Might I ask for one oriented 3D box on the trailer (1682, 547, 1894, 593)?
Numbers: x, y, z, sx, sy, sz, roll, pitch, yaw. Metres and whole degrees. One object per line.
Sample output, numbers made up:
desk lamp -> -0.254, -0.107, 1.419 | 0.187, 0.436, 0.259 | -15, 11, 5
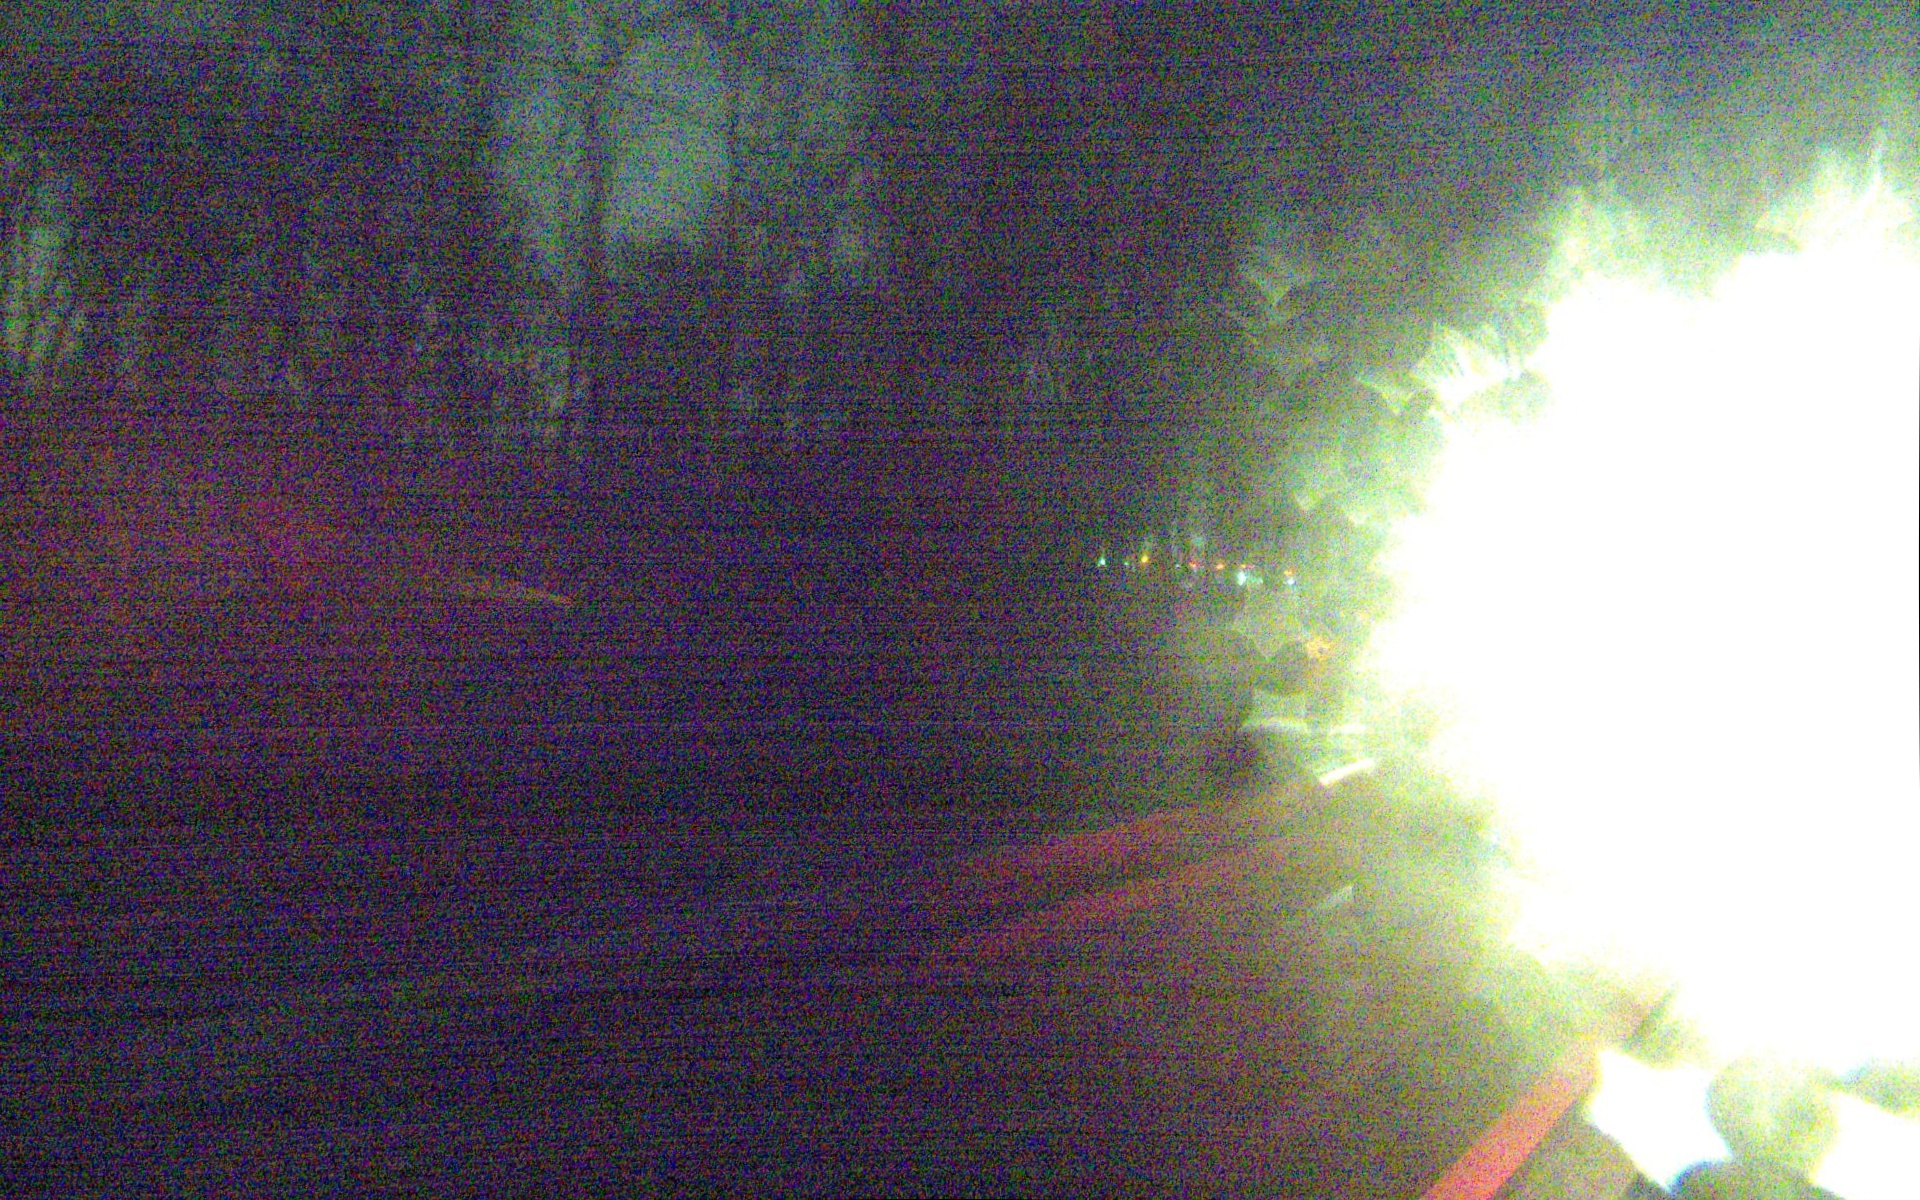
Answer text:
trailer -> 57.773, -2.256, 71.428 | 1.958, 2.761, 13.047 | 0, 4, -13

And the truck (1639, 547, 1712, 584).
truck -> 55.975, -2.767, 79.235 | 1.958, 2.763, 4.355 | 0, 3, -14

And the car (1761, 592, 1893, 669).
car -> 22.796, 0.726, 26.785 | 1.878, 1.631, 3.959 | 3, 4, 30

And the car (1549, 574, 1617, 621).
car -> 30.959, -0.166, 50.438 | 1.975, 2.038, 3.975 | -4, 1, 20
